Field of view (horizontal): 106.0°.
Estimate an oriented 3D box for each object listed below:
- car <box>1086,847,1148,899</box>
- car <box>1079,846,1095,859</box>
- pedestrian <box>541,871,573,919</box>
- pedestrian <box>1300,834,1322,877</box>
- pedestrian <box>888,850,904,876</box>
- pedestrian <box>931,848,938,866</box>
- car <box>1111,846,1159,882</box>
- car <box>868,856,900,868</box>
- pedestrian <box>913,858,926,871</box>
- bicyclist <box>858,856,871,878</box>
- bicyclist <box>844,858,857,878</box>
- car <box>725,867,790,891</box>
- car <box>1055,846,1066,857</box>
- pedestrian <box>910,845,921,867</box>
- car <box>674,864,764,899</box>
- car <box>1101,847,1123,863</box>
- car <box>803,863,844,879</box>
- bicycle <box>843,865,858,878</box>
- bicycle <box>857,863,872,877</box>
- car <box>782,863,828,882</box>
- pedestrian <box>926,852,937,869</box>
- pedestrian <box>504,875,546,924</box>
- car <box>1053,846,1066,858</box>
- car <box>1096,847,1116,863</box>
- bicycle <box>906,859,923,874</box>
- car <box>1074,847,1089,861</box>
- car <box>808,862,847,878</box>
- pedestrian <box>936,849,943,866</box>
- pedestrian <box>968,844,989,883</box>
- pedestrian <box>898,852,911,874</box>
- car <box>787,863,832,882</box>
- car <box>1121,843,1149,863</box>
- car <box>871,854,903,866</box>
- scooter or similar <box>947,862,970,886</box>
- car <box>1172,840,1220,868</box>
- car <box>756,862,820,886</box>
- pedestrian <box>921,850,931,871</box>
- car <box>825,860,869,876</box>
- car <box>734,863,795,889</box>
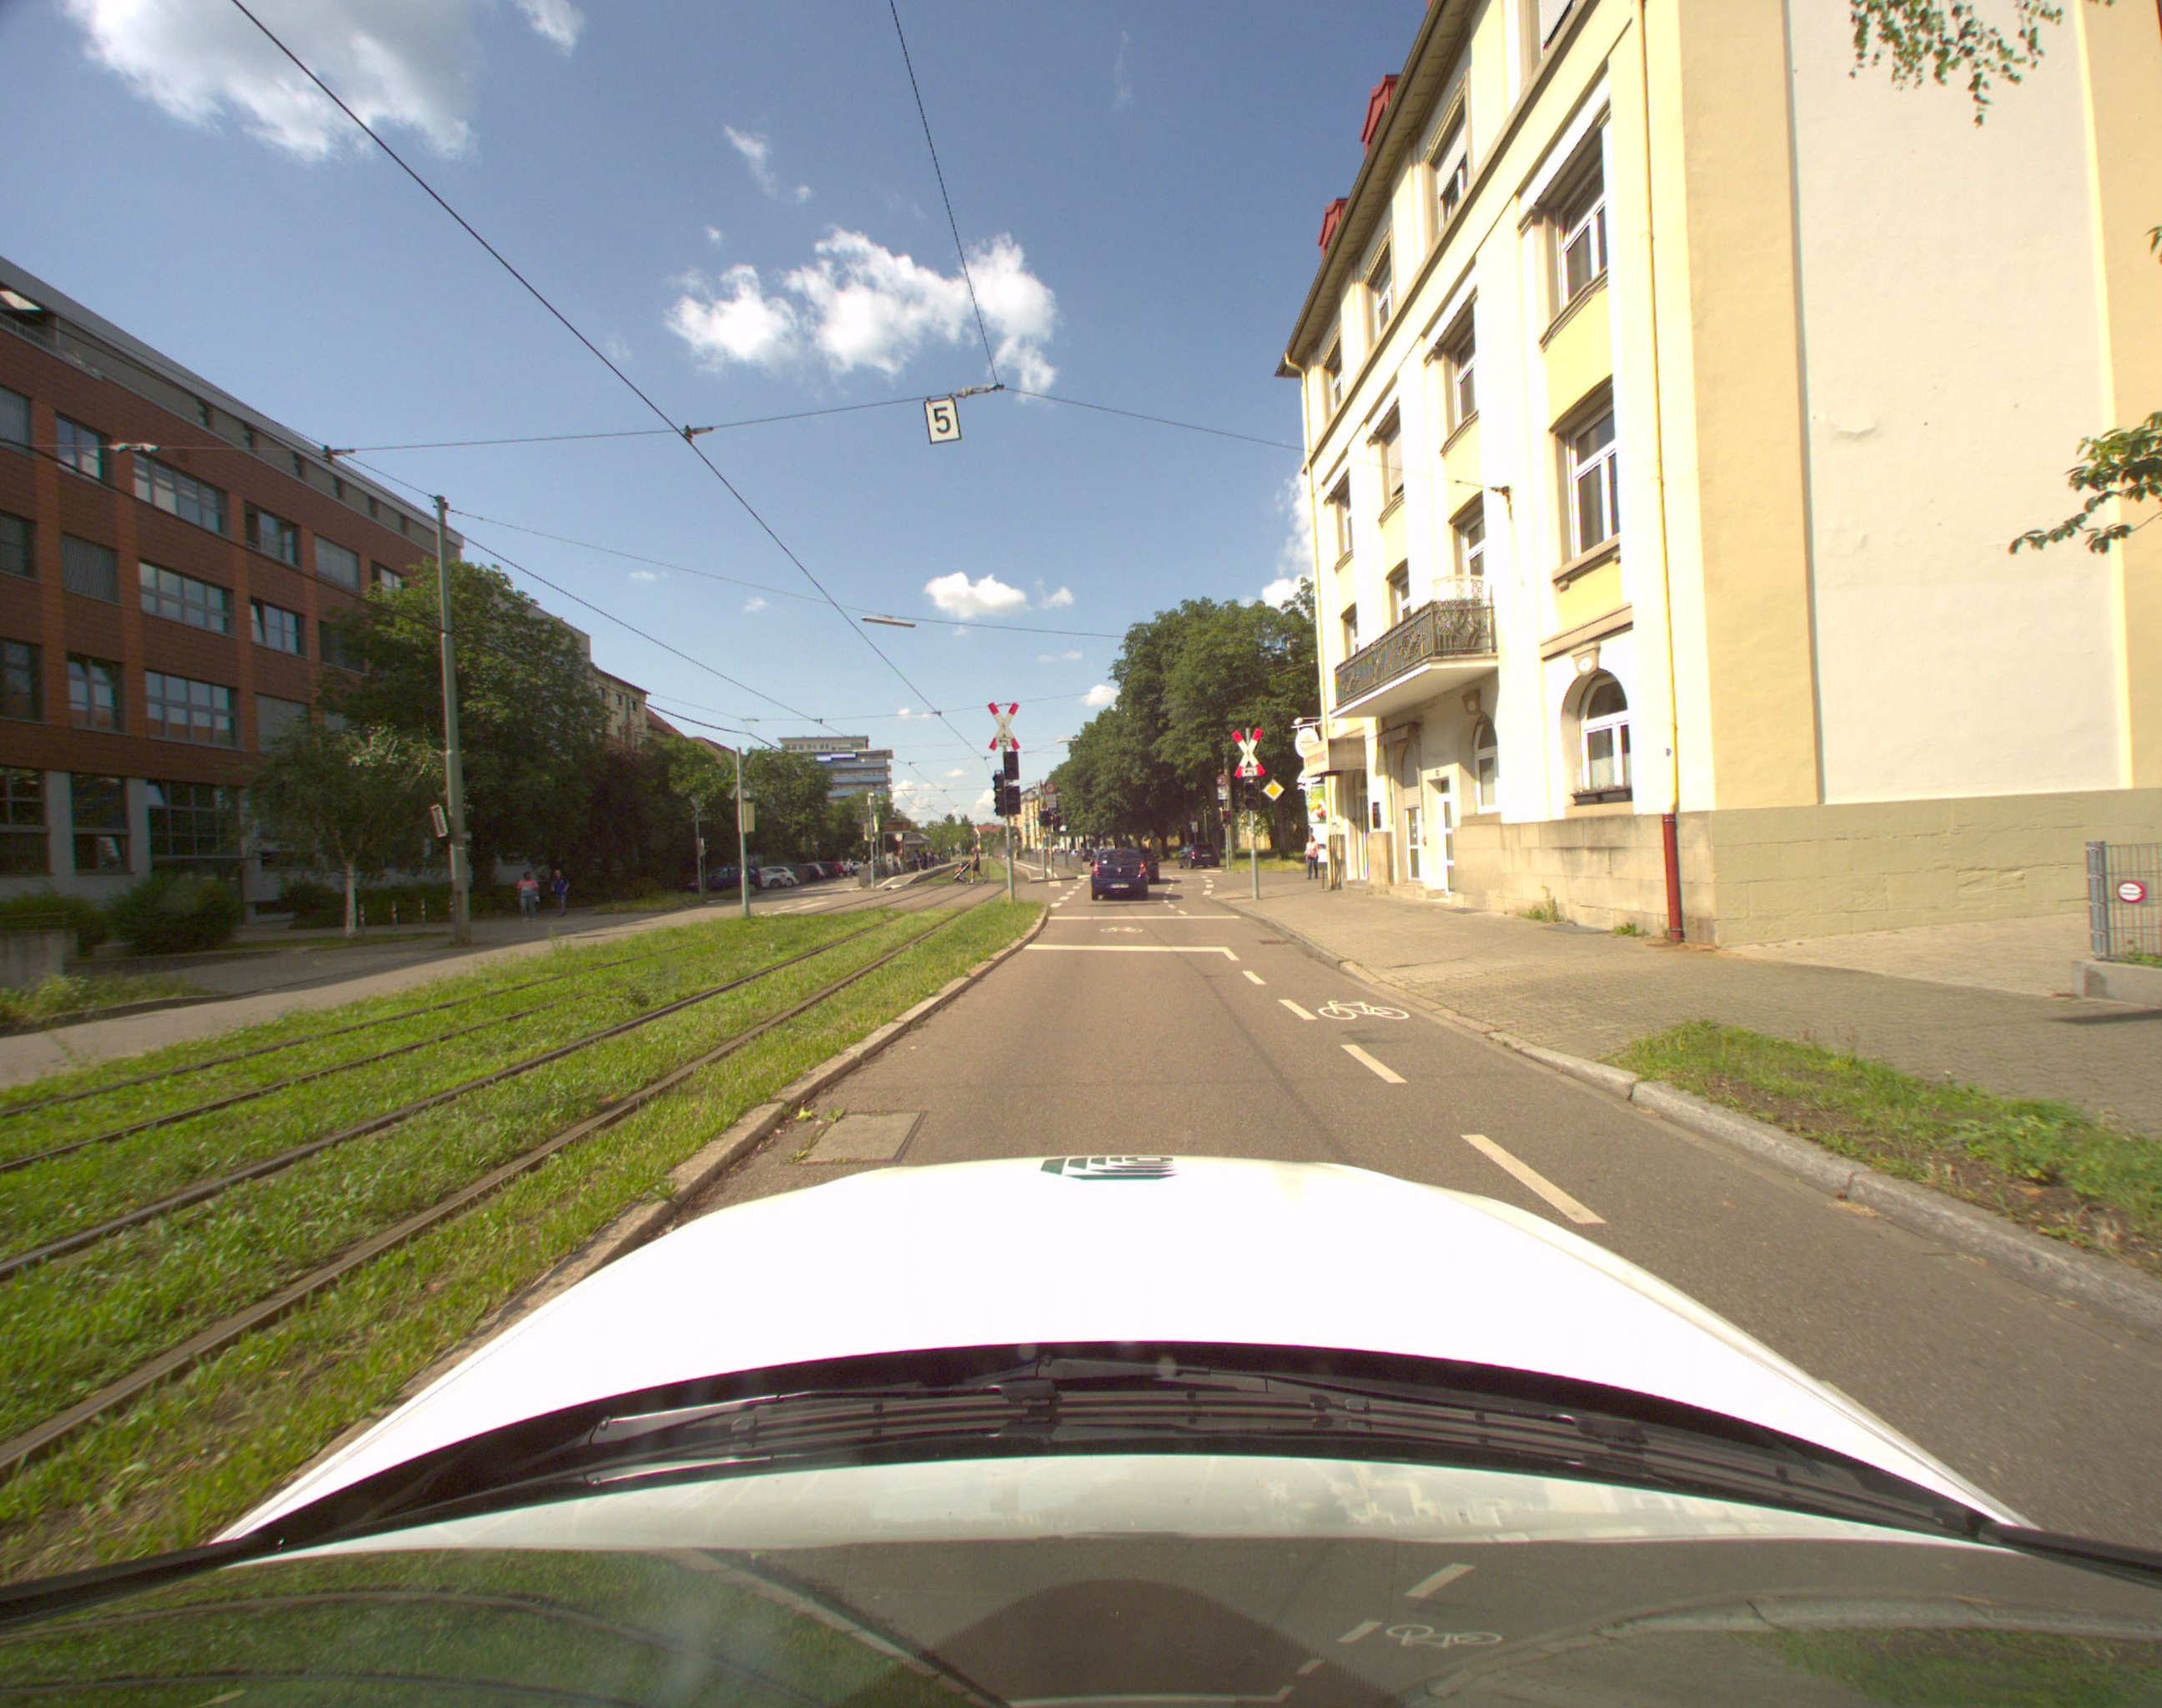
[{"bbox_3d":[1.099,0.531,25.365,1.761,1.462,3.777,-1,1,2],"label":"car"},{"bbox_3d":[0.724,-0.189,102.199,1.822,1.537,3.999,-4,0,-1],"label":"car"},{"bbox_3d":[-19.113,1.483,29.703,0.554,1.657,0.747,-3,0,2],"label":"pedestrian"},{"bbox_3d":[9.004,0.063,31.887,0.666,1.648,0.768,-4,0,22],"label":"pedestrian"},{"bbox_3d":[-12.517,0.604,55.198,0.705,1.726,0.672,-3,0,36],"label":"pedestrian"},{"bbox_3d":[-14.105,0.315,78.226,0.489,1.712,0.461,-4,0,-16],"label":"pedestrian"},{"bbox_3d":[2.154,0.381,33.135,1.695,1.368,3.514,0,1,-1],"label":"car"},{"bbox_3d":[-26.528,1.058,109.907,1.618,1.385,4.026,-3,1,39],"label":"car"},{"bbox_3d":[-13.463,0.902,67.761,0.923,0.989,0.796,-4,-1,-4],"label":"pedestrian"},{"bbox_3d":[-20.292,1.192,76.259,0.949,2.013,1.569,-5,1,-13],"label":"bicyclist"},{"bbox_3d":[-19.266,1.169,68.112,0.783,1.581,0.863,-4,0,-3],"label":"bicyclist"},{"bbox_3d":[-20.361,1.574,51.335,1.525,1.236,3.409,-3,1,45],"label":"car"},{"bbox_3d":[-3.379,-0.401,135.475,1.663,1.771,3.997,-3,0,-2],"label":"car"},{"bbox_3d":[-13.513,0.148,66.463,0.654,1.692,0.655,-4,0,-6],"label":"pedestrian"},{"bbox_3d":[-20.115,1.529,45.383,1.704,1.640,4.158,-3,1,45],"label":"car"},{"bbox_3d":[2.988,0.082,79.493,1.856,1.445,3.999,-5,0,-1],"label":"car"},{"bbox_3d":[-23.609,1.554,74.819,1.437,1.309,3.268,-3,1,38],"label":"car"},{"bbox_3d":[-19.268,1.460,68.198,0.679,0.971,2.177,-4,0,-2],"label":"bicycle"},{"bbox_3d":[-20.290,1.517,76.283,1.155,1.177,1.780,-4,0,-13],"label":"bicycle"},{"bbox_3d":[-22.323,1.513,65.953,1.437,1.309,3.268,-3,1,36],"label":"car"},{"bbox_3d":[-13.275,0.559,72.337,0.648,1.426,0.567,-4,0,31],"label":"pedestrian"},{"bbox_3d":[-18.607,1.503,27.271,0.742,1.574,0.890,-3,-1,2],"label":"pedestrian"},{"bbox_3d":[-3.368,-0.355,129.359,1.825,1.761,3.999,-3,0,-1],"label":"car"},{"bbox_3d":[2.570,0.088,84.217,1.846,1.515,3.999,-3,0,-1],"label":"car"},{"bbox_3d":[-12.258,0.910,59.959,0.683,0.974,1.773,-5,1,4],"label":"bicycle"},{"bbox_3d":[0.041,0.000,110.832,1.615,1.749,3.993,-3,0,-5],"label":"car"},{"bbox_3d":[-24.205,1.556,77.928,1.437,1.309,3.268,-3,1,38],"label":"car"},{"bbox_3d":[-16.397,0.415,94.327,0.661,2.013,0.801,-3,0,-11],"label":"pedestrian"},{"bbox_3d":[-4.925,0.446,39.254,0.870,1.775,1.001,-4,0,-7],"label":"pedestrian"},{"bbox_3d":[-13.060,0.674,60.118,0.661,1.569,0.686,-4,0,2],"label":"pedestrian"},{"bbox_3d":[-22.813,1.541,68.441,1.437,1.309,3.268,-3,1,38],"label":"car"},{"bbox_3d":[4.471,-0.074,67.941,1.856,1.445,3.999,-5,0,-1],"label":"car"},{"bbox_3d":[-27.325,0.867,115.016,4.021,1.447,1.707,-3,1,-41],"label":"car"},{"bbox_3d":[-5.853,0.944,38.862,0.953,1.064,0.795,-5,1,-7],"label":"scooter or similar"},{"bbox_3d":[6.589,-0.015,47.056,1.764,1.433,3.895,-4,0,-7],"label":"car"},{"bbox_3d":[-21.499,1.476,59.801,1.669,1.456,4.025,-3,1,44],"label":"car"},{"bbox_3d":[-13.642,0.564,71.708,0.601,1.766,0.639,-3,0,3],"label":"pedestrian"},{"bbox_3d":[-24.314,1.439,84.786,1.694,1.367,4.025,-3,1,43],"label":"car"},{"bbox_3d":[-21.083,1.443,54.270,3.409,1.505,1.525,-3,0,-44],"label":"car"}]
